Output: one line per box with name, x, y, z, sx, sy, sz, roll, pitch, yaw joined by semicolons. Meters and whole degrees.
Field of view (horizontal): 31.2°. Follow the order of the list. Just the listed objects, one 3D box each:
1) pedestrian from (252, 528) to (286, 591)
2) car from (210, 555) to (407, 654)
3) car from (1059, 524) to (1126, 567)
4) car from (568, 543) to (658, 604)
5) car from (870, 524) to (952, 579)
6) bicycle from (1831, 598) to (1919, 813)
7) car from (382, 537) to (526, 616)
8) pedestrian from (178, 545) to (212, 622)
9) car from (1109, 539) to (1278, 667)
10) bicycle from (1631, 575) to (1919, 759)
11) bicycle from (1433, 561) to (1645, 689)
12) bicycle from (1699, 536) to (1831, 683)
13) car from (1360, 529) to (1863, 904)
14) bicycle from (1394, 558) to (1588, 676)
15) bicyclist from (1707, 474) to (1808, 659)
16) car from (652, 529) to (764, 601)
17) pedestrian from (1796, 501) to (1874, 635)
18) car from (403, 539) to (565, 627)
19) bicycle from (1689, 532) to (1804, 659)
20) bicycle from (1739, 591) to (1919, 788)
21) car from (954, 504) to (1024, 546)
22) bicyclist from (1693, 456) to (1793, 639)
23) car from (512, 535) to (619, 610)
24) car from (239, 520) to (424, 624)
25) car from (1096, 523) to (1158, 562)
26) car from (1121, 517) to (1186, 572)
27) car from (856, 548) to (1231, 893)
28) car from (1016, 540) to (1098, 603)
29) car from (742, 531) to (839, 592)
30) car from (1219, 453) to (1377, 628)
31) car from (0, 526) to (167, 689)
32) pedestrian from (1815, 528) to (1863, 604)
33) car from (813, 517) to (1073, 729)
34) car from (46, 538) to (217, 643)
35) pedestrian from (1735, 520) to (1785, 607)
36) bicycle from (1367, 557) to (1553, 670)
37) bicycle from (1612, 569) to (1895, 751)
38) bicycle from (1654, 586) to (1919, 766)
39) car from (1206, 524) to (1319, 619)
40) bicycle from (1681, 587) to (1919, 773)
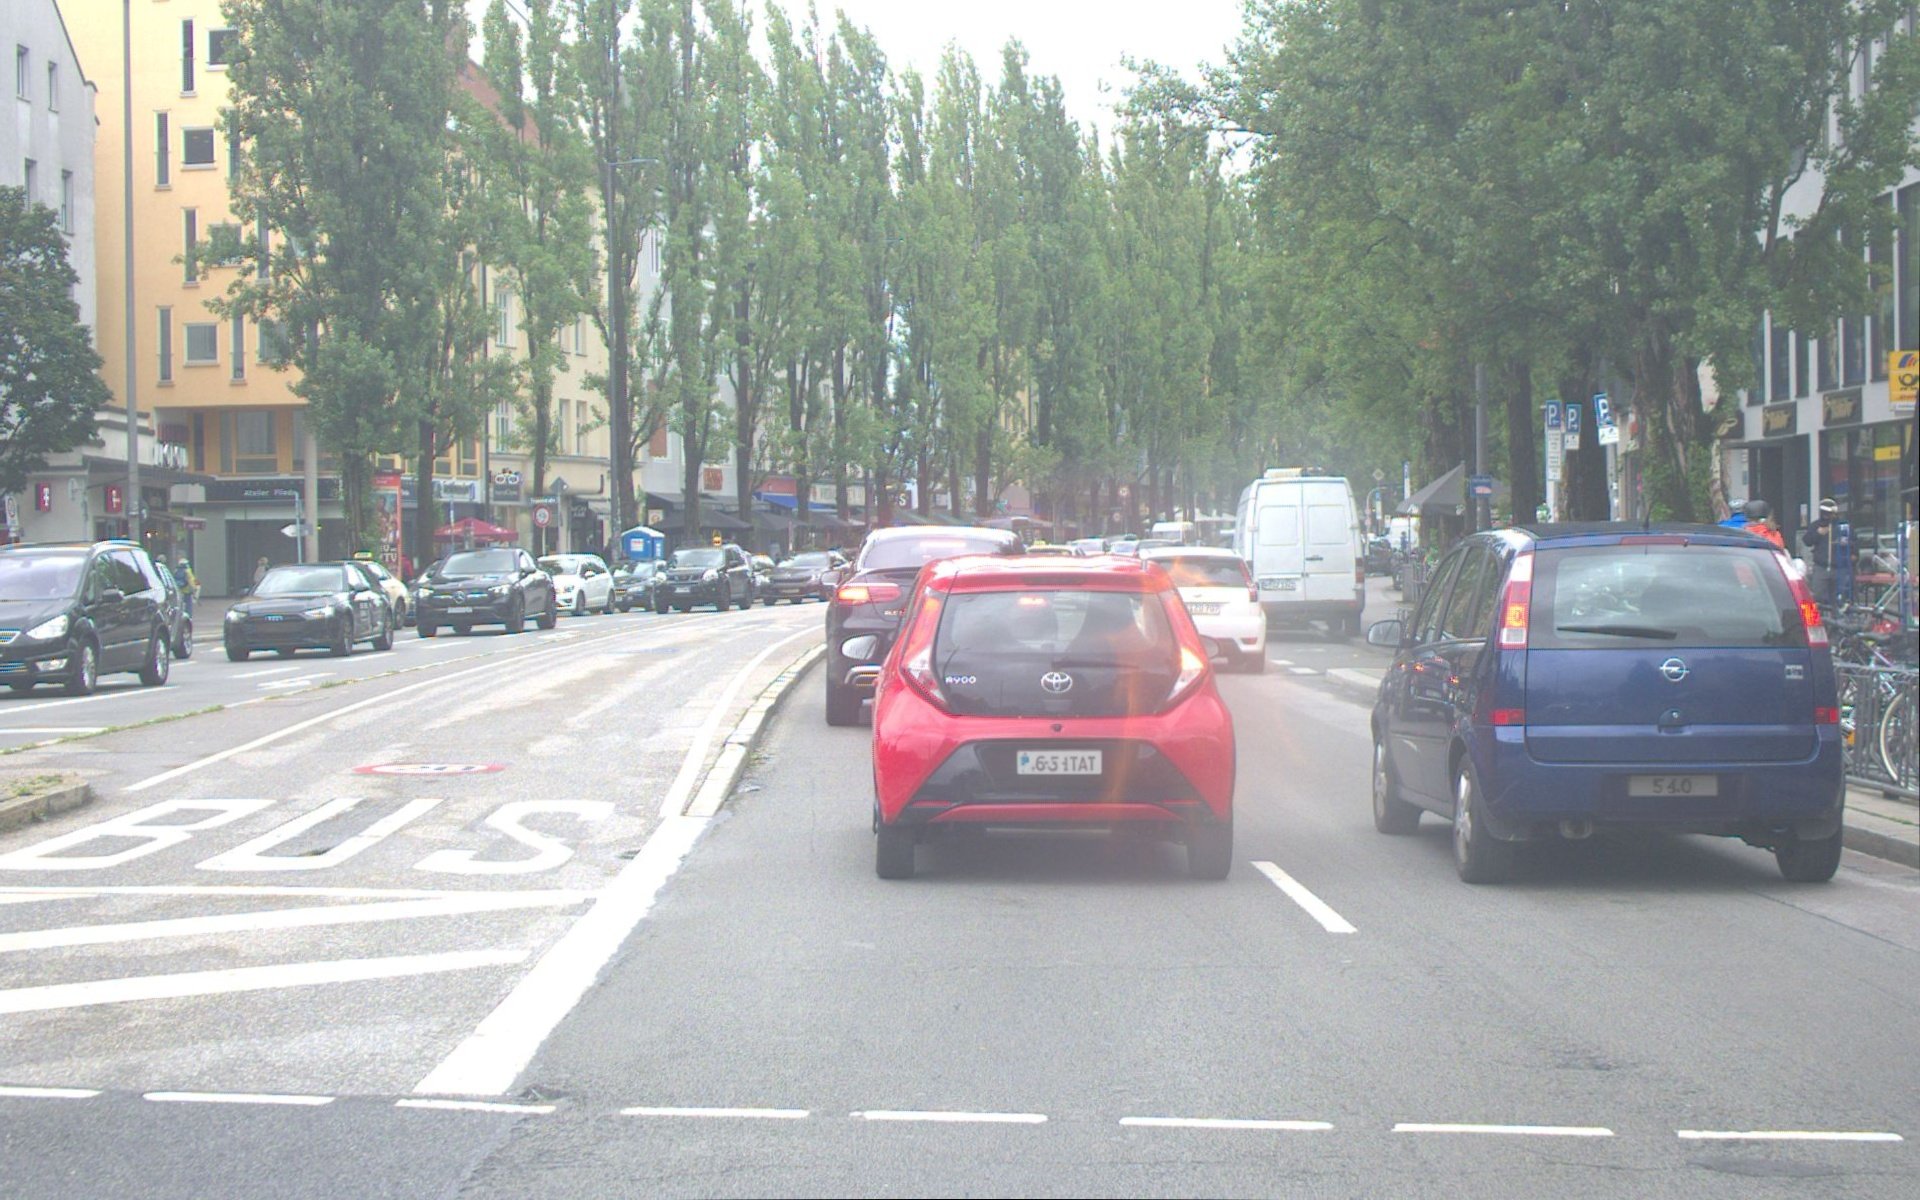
pedestrian;-19.939;-1.161;99.232;0.688;1.804;0.765;-1;1;12
car;-9.856;0.039;52.350;1.845;1.377;4.600;-1;1;4
car;5.540;-2.281;143.115;1.994;1.686;4.411;-1;1;12
car;-9.205;-0.719;91.373;1.746;1.565;3.491;-1;1;5
car;-1.544;-1.571;110.034;1.994;1.686;4.920;-1;1;7
bicycle;5.558;0.555;18.013;1.803;1.107;0.651;0;2;37
car;-11.045;-0.545;75.389;1.994;1.604;4.532;-1;1;7
pedestrian;-19.954;-0.442;89.666;0.687;1.990;0.765;-1;1;-2
car;2.733;0.001;40.855;1.699;1.421;3.497;-1;1;-1
bicycle;5.416;0.426;22.844;1.836;1.164;0.585;0;2;42
bicycle;5.288;0.216;31.453;1.836;1.132;0.585;0;2;36
bicycle;7.337;0.057;31.431;0.614;1.260;2.520;-1;1;0
car;2.986;0.462;16.435;1.703;1.584;3.556;0;1;0
bicycle;5.271;0.162;34.182;1.836;1.132;0.585;0;2;36
bicyclist;7.321;-0.315;31.599;0.614;1.652;1.251;-1;1;0
car;-6.230;-0.891;85.524;1.994;1.686;4.920;2;1;5
pedestrian;11.415;-0.419;44.876;0.790;1.722;0.764;-1;1;0
car;-8.788;-0.345;63.860;1.994;1.529;4.587;-1;1;5
bicycle;8.176;-0.069;35.814;0.614;1.260;2.520;-1;1;0
bicycle;5.505;0.514;20.089;1.803;1.107;0.561;0;2;41
car;1.212;-3.087;141.138;1.994;1.686;4.411;-1;1;12
bicyclist;8.150;-0.550;35.827;0.762;1.863;1.133;-1;1;0
car;-9.907;-0.707;86.549;1.857;1.809;3.999;1;1;5
car;-12.574;-0.601;69.090;1.994;1.809;4.531;-3;2;12
car;7.391;-2.560;151.840;1.994;1.686;4.411;-1;1;12
car;6.720;-1.929;118.996;1.994;1.831;3.999;-1;1;7
car;0.375;0.498;16.429;1.605;1.456;3.130;-1;1;1
car;2.398;-0.718;84.275;1.773;1.434;3.938;-1;1;5
car;-4.864;-1.120;99.052;1.994;1.686;4.920;-1;1;7
car;5.452;-0.975;56.030;2.107;2.709;4.804;-1;1;1
car;-10.527;0.044;39.005;1.936;1.733;4.588;-1;1;1
pedestrian;15.140;-0.590;59.220;0.638;1.301;0.676;-1;1;0
car;-0.161;0.135;28.611;1.993;1.612;4.000;-1;1;-1
car;-12.834;-0.176;53.423;1.624;1.546;3.384;-1;1;4
pedestrian;14.346;-0.660;61.640;0.713;1.553;0.676;-1;1;0
bicycle;5.173;0.130;35.649;1.836;1.132;0.585;0;2;36
bicycle;5.438;0.393;23.626;1.836;1.193;0.585;0;2;42
bicycle;5.403;0.470;22.182;1.803;1.107;0.490;0;2;42
car;5.440;-0.540;62.115;1.703;1.657;3.556;0;1;0
bicycle;5.463;0.484;21.516;1.803;1.107;0.585;0;2;42
